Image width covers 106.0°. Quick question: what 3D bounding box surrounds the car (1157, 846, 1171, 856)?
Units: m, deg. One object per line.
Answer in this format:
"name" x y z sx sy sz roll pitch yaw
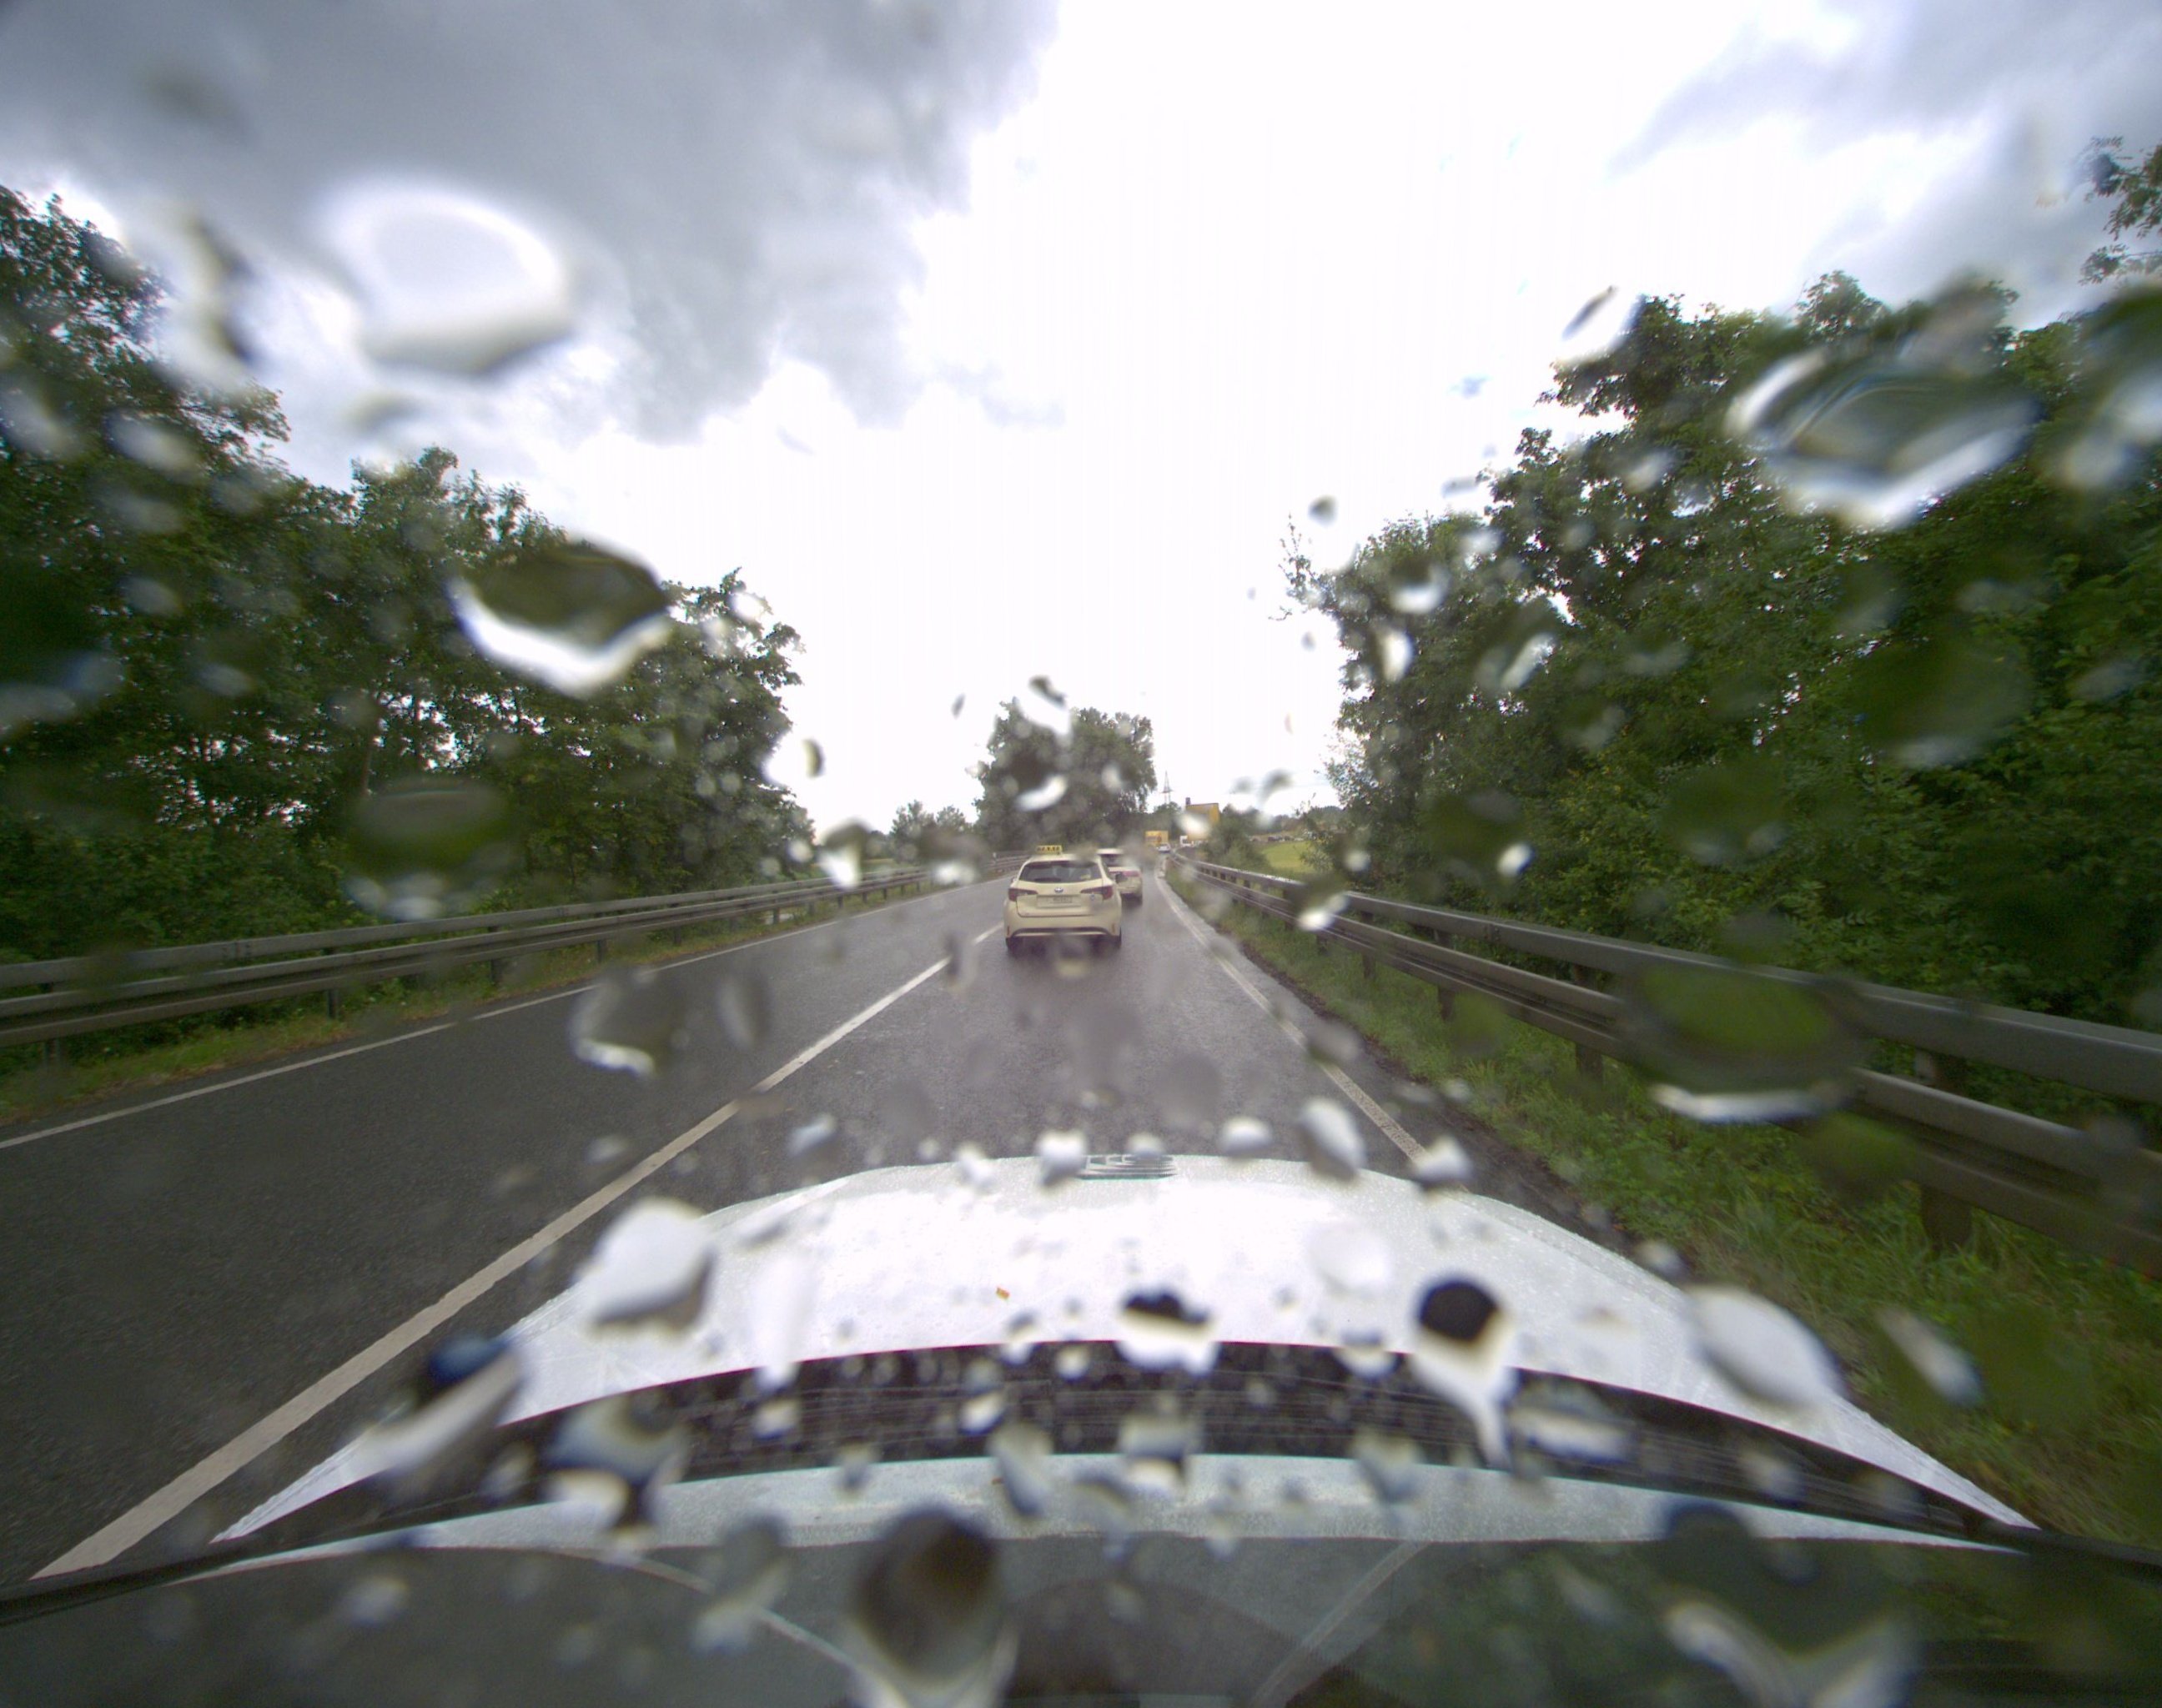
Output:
"car" 11.054 -0.453 108.229 1.473 1.309 3.487 -1 0 10

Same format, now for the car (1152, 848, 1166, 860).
"car" 8.754 -0.029 91.178 1.474 1.309 3.484 -1 0 7

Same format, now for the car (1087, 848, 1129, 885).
"car" 1.165 0.492 33.701 1.498 1.437 3.361 -1 0 6

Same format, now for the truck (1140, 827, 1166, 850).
"truck" 11.681 -2.592 131.820 2.751 3.428 9.225 1 3 14

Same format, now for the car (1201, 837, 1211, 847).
"car" 23.949 -2.308 155.872 1.720 1.819 4.014 -1 0 13

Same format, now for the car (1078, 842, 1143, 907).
"car" 0.836 0.500 21.890 1.571 1.572 3.684 -1 0 3

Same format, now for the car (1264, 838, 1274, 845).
"car" 50.153 -3.218 217.306 1.801 1.838 4.013 -1 0 27

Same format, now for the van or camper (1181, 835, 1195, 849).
"van or camper" 17.964 -2.023 136.444 1.980 2.254 4.013 -1 0 12

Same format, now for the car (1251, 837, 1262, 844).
"car" 43.999 -3.327 203.898 1.903 1.838 4.022 -1 0 22

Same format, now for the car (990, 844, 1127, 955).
"car" -0.234 0.630 13.566 1.898 1.537 4.164 -1 0 2

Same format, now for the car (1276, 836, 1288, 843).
"car" 55.500 -4.002 225.127 1.974 2.013 4.026 -1 0 33

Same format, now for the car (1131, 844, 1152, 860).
"car" 5.476 -0.147 73.506 1.652 1.409 3.911 -1 0 6

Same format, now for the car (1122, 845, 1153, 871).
"car" 3.333 0.224 48.174 1.659 1.464 3.478 -1 0 1
